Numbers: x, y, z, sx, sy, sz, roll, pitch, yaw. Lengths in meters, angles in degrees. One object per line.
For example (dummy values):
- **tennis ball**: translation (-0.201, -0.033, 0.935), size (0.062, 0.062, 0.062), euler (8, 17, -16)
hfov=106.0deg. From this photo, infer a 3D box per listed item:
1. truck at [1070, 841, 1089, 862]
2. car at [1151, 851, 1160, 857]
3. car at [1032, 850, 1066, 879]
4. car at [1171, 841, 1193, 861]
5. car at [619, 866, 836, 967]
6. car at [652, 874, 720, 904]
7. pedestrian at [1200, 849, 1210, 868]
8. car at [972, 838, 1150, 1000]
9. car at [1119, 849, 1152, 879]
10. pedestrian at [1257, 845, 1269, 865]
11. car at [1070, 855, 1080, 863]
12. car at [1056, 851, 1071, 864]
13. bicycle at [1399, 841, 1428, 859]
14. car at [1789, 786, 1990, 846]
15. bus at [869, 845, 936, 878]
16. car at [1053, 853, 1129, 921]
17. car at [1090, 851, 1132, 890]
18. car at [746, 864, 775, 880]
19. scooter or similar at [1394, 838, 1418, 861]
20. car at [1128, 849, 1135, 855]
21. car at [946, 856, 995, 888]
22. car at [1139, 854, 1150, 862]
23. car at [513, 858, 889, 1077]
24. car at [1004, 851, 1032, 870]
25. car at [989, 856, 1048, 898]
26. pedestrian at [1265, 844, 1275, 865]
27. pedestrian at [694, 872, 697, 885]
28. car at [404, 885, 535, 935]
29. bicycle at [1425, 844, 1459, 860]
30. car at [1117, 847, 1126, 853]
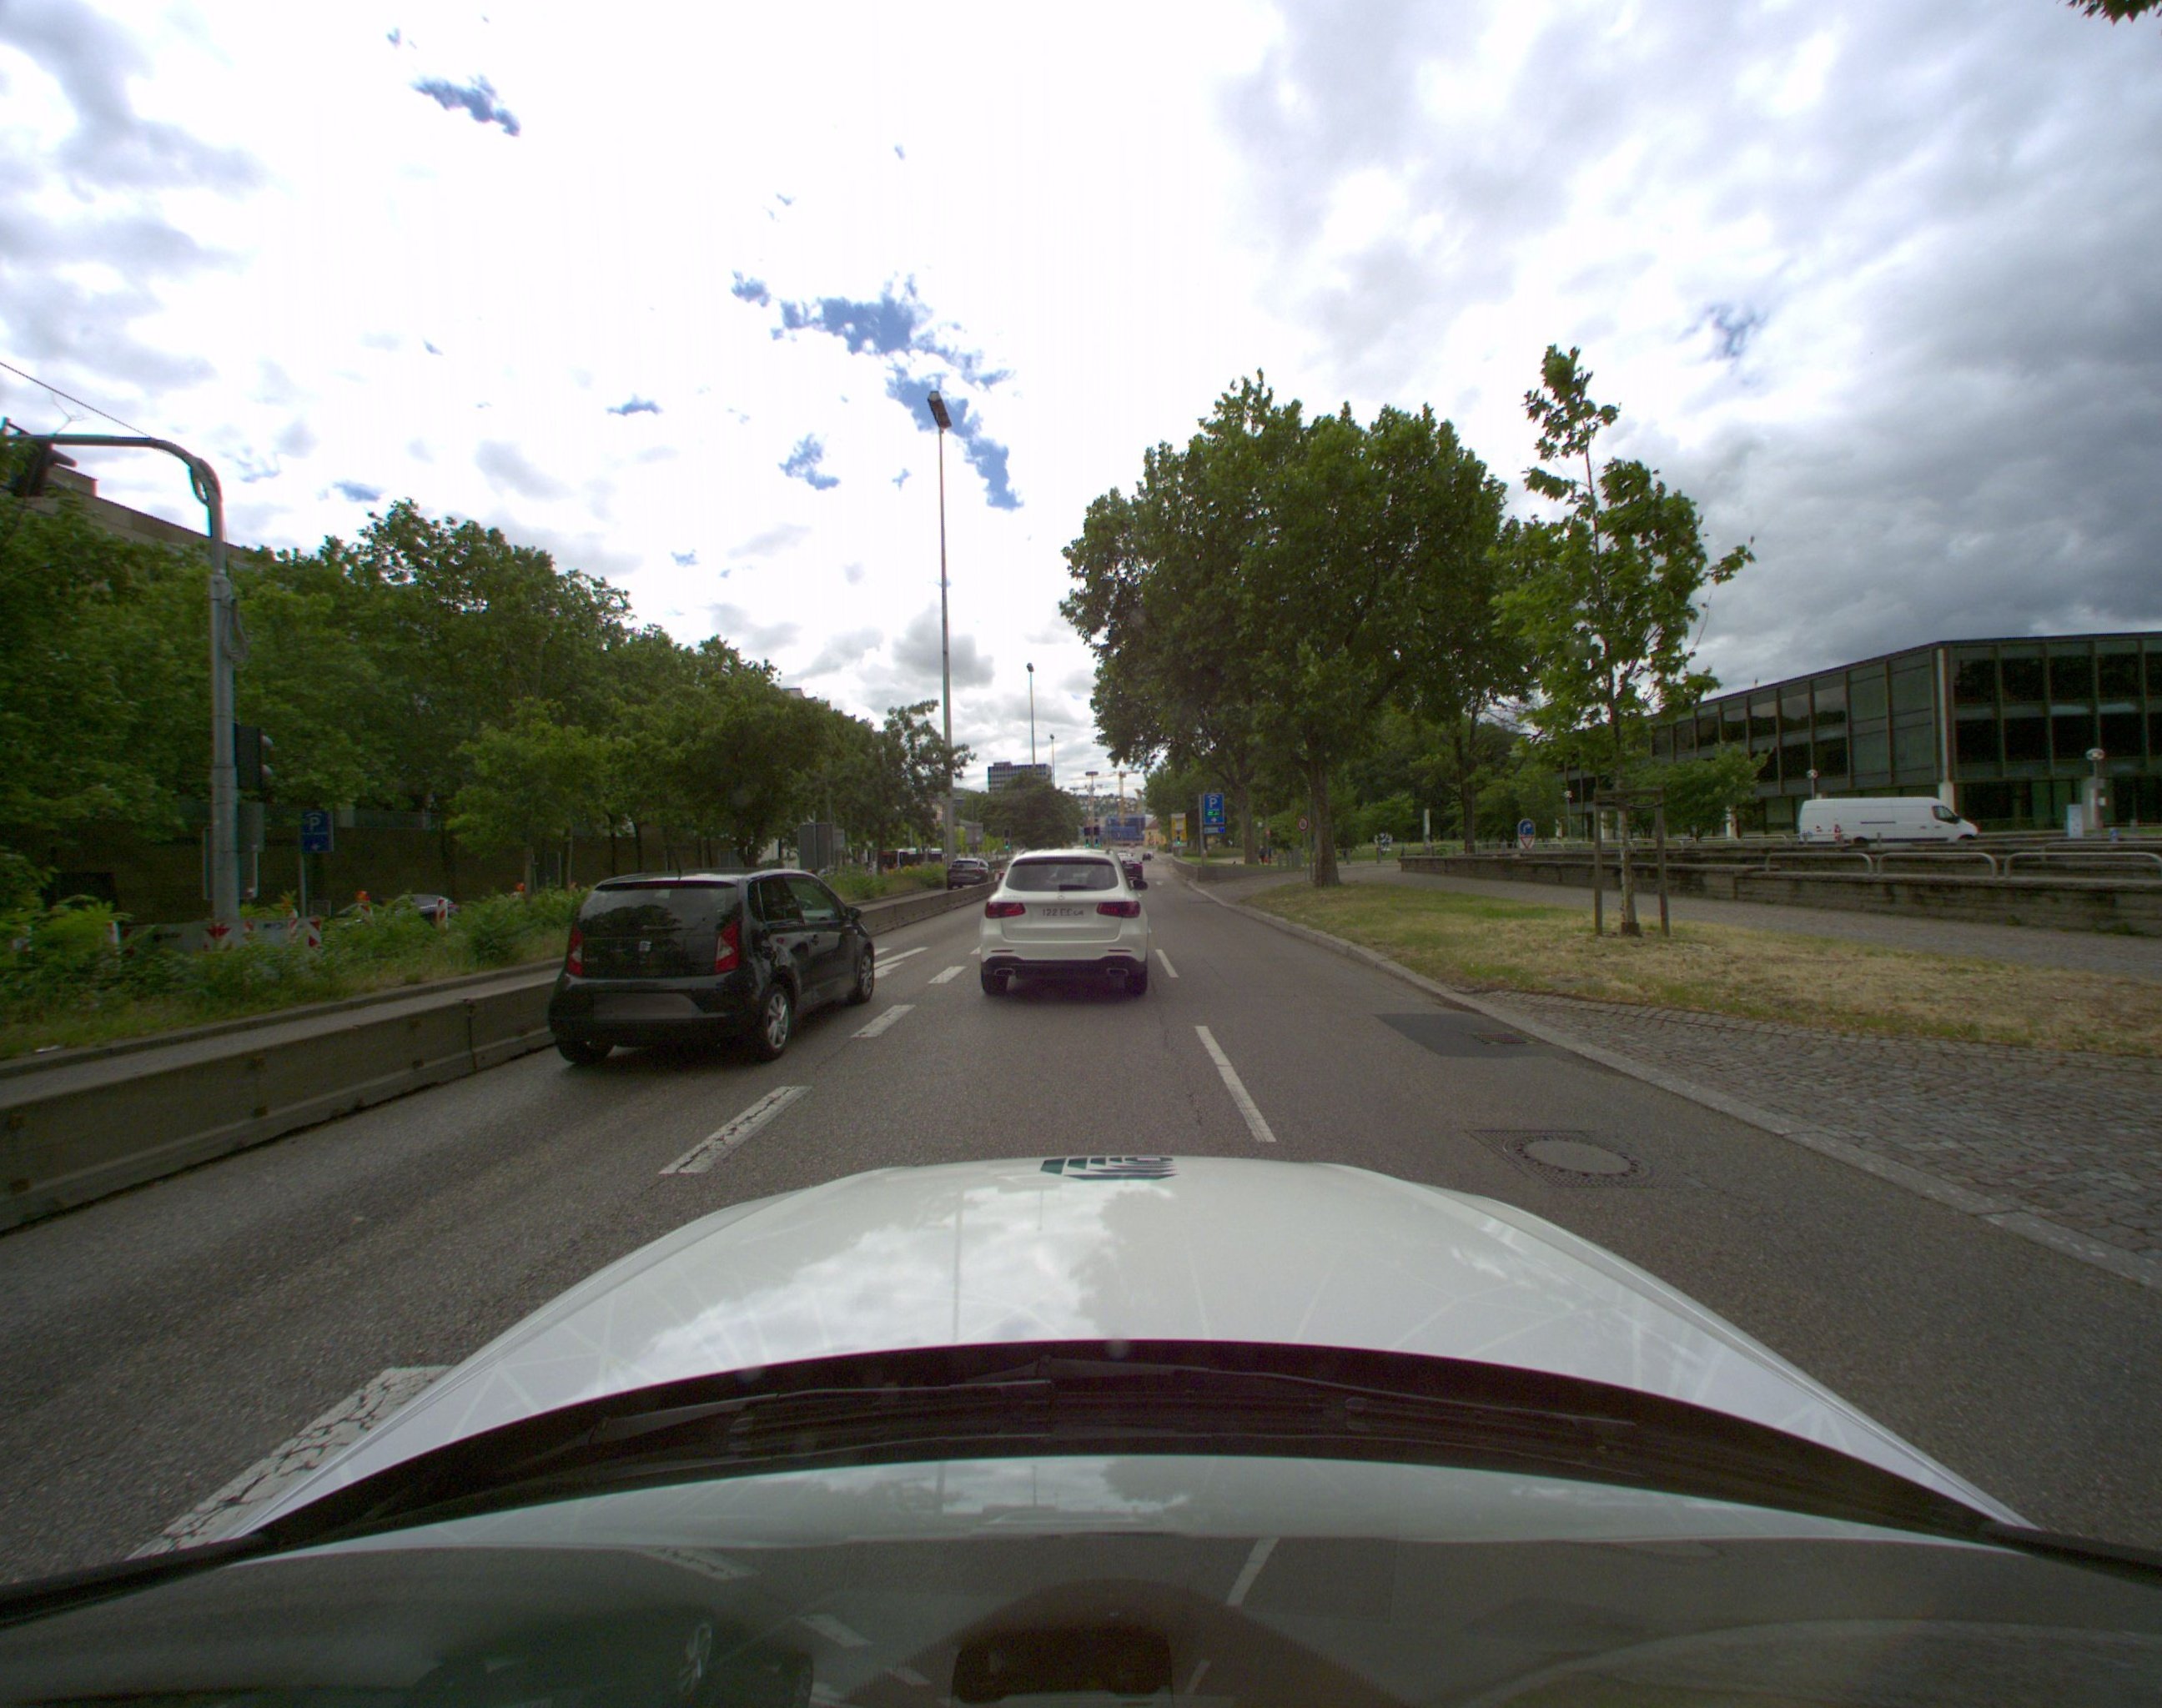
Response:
- **truck**: translation (-0.122, -0.349, 119.004), size (2.611, 2.861, 7.080), euler (0, 0, 1)
- **car**: translation (16.536, 0.086, 181.295), size (1.939, 1.319, 4.020), euler (-1, 0, 3)
- **car**: translation (-1.866, 0.615, 48.310), size (1.846, 1.628, 4.904), euler (-1, -1, -1)
- **car**: translation (10.435, -0.315, 84.192), size (1.985, 2.014, 4.003), euler (-1, 0, 3)
- **car**: translation (-5.874, 0.954, 14.238), size (1.672, 1.367, 4.544), euler (-2, 0, 1)
- **car**: translation (-21.214, 1.869, 43.900), size (1.654, 1.383, 3.805), euler (-2, 0, 1)
- **pedestrian**: translation (13.616, 0.494, 89.133), size (0.752, 2.013, 0.703), euler (-2, 0, 38)
- **car**: translation (-0.071, 0.671, 10.512), size (1.780, 1.625, 4.441), euler (-1, 0, 3)
- **car**: translation (3.342, 0.585, 50.687), size (1.818, 1.752, 4.001), euler (-2, 0, 1)
- **pedestrian**: translation (14.690, 0.088, 65.739), size (0.662, 1.611, 0.637), euler (-2, 0, -16)
- **car**: translation (-1.063, 0.865, 147.440), size (1.652, 1.319, 3.550), euler (-1, 0, 3)
- **car**: translation (-2.220, 0.456, 105.652), size (1.652, 1.513, 3.550), euler (-2, 0, 3)
- **bicycle**: translation (20.979, -0.235, 51.410), size (0.950, 1.063, 2.336), euler (0, -1, 1)
- **car**: translation (34.865, -1.596, 35.286), size (6.081, 2.260, 2.404), euler (-2, 0, 3)
- **bus**: translation (-19.168, 0.729, 88.821), size (3.653, 3.205, 14.279), euler (-2, 0, 2)
- **car**: translation (0.188, 0.823, 22.309), size (1.792, 1.608, 3.751), euler (-3, 0, -3)
- **car**: translation (1.294, 0.695, 36.211), size (1.654, 1.639, 3.546), euler (-1, 0, -1)
- **car**: translation (-41.080, 2.283, 104.436), size (1.986, 1.915, 4.001), euler (-2, 0, 1)
- **scooter or similar**: translation (18.083, -0.233, 45.342), size (0.633, 1.245, 2.228), euler (0, -1, 4)
- **car**: translation (14.430, -0.667, 232.120), size (1.752, 1.669, 4.170), euler (-2, 0, 2)
- **car**: translation (-5.211, 0.825, 38.865), size (1.655, 1.436, 3.961), euler (-1, -1, 1)
- **car**: translation (11.688, 0.710, 150.267), size (1.939, 1.428, 4.020), euler (-1, 0, 3)
- **car**: translation (-3.069, 0.797, 7.465), size (1.602, 1.473, 3.624), euler (-2, 0, 2)
- **car**: translation (-5.167, 0.500, 66.889), size (1.769, 1.420, 4.003), euler (-2, 0, 3)
- **car**: translation (-2.251, 0.818, 30.244), size (1.791, 1.437, 4.020), euler (-1, 0, 0)
- **pedestrian**: translation (15.827, 0.039, 68.138), size (0.754, 1.725, 0.701), euler (-2, 0, 10)
- **pedestrian**: translation (-32.658, 2.105, 68.994), size (0.214, 1.078, 0.257), euler (0, -1, -16)
- **car**: translation (-21.691, 1.942, 29.079), size (1.724, 1.442, 3.798), euler (-2, 0, 0)
- **bicycle**: translation (22.561, -0.092, 50.908), size (0.950, 0.975, 2.788), euler (0, -1, 1)
- **car**: translation (8.736, -0.824, 174.266), size (1.939, 1.319, 4.020), euler (-1, 0, 3)
